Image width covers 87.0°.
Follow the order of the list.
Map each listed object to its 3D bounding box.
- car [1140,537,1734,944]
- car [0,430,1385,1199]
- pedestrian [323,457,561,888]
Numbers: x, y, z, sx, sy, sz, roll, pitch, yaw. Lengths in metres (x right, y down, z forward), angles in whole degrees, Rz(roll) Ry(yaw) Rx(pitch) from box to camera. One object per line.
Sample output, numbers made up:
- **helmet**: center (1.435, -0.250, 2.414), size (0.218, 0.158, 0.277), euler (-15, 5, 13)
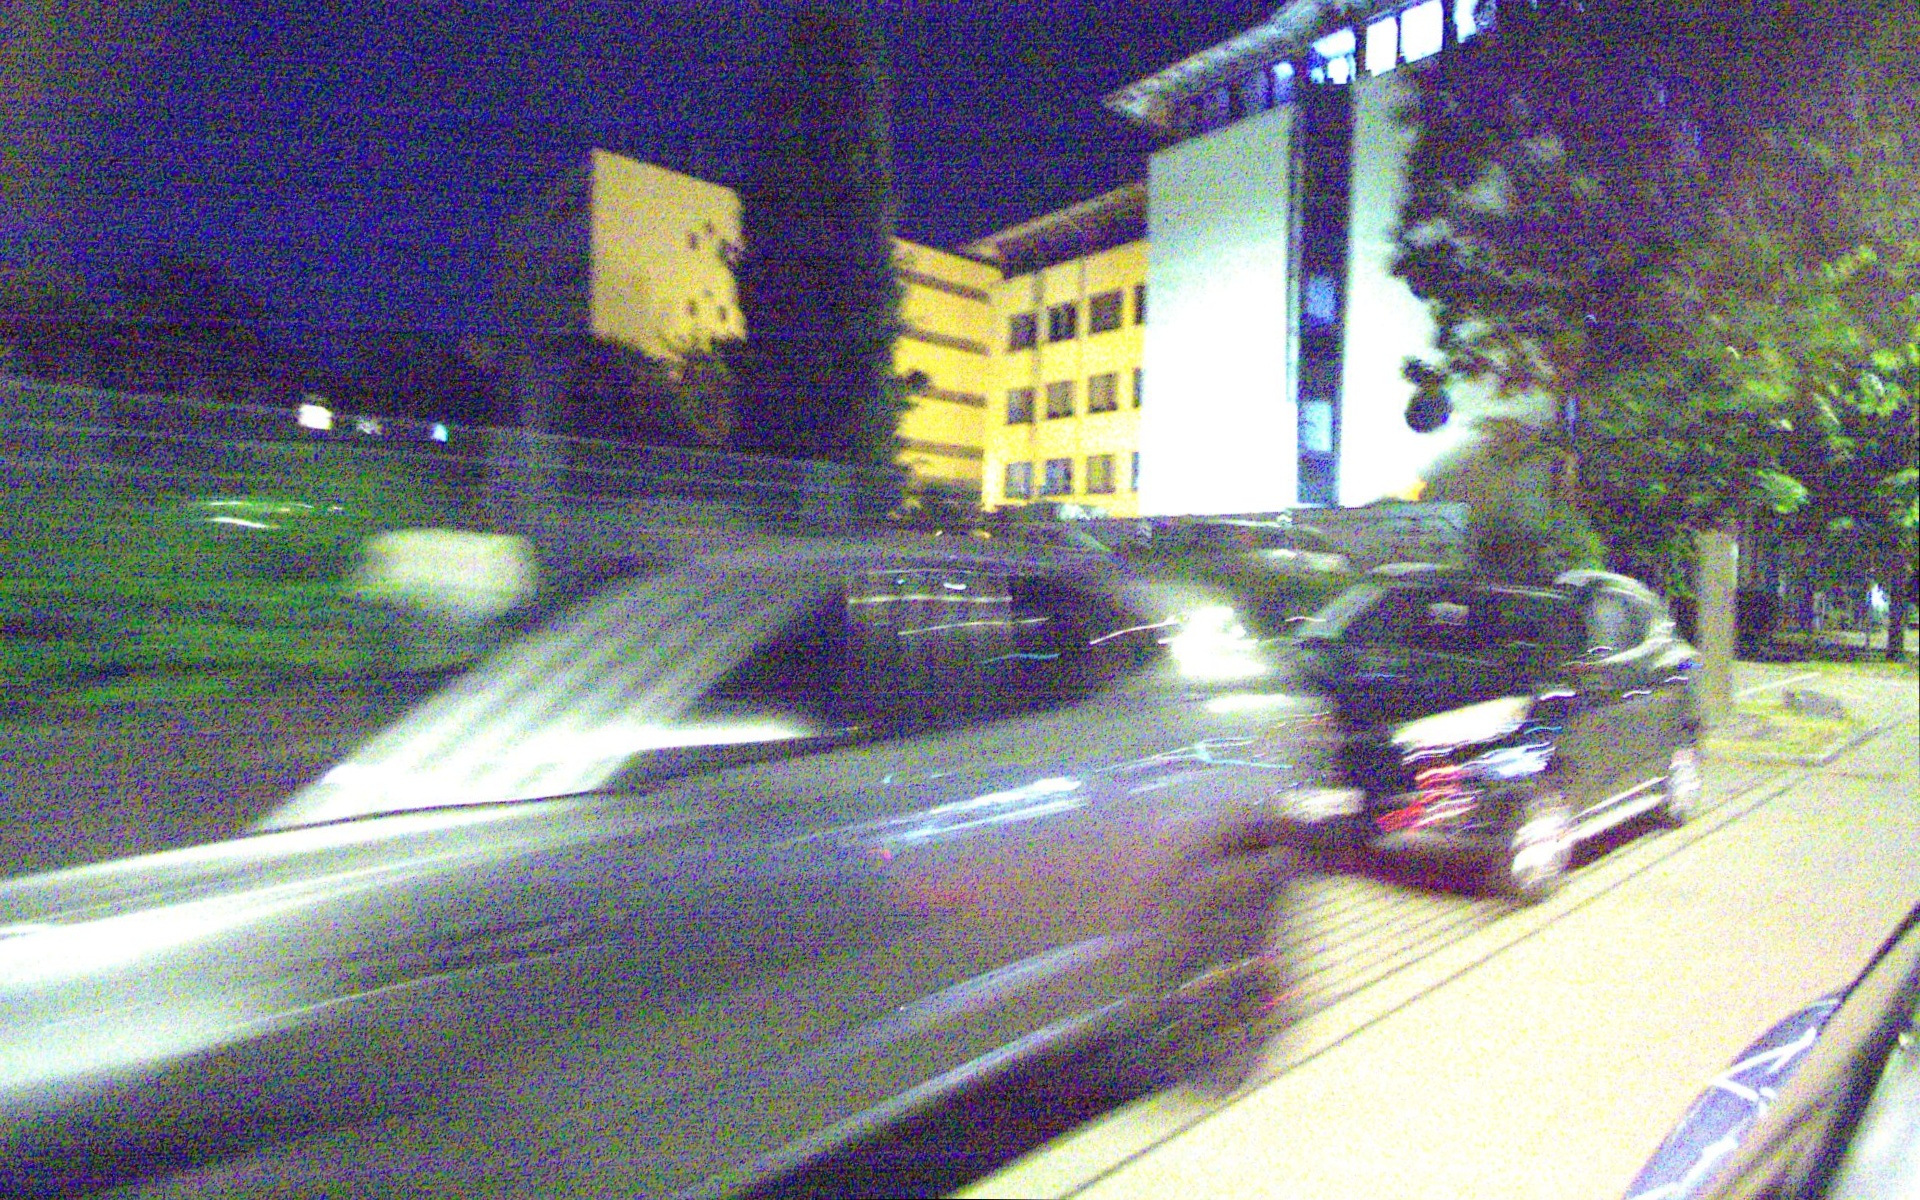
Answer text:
- **car**: center (3.171, 0.544, 6.306), size (4.137, 1.674, 1.856), euler (0, 3, -42)
- **car**: center (-0.739, 0.558, 2.772), size (4.136, 1.624, 1.857), euler (0, 3, -42)
- **pedestrian**: center (-2.363, 0.276, 4.607), size (0.807, 1.742, 0.707), euler (0, 3, -40)
